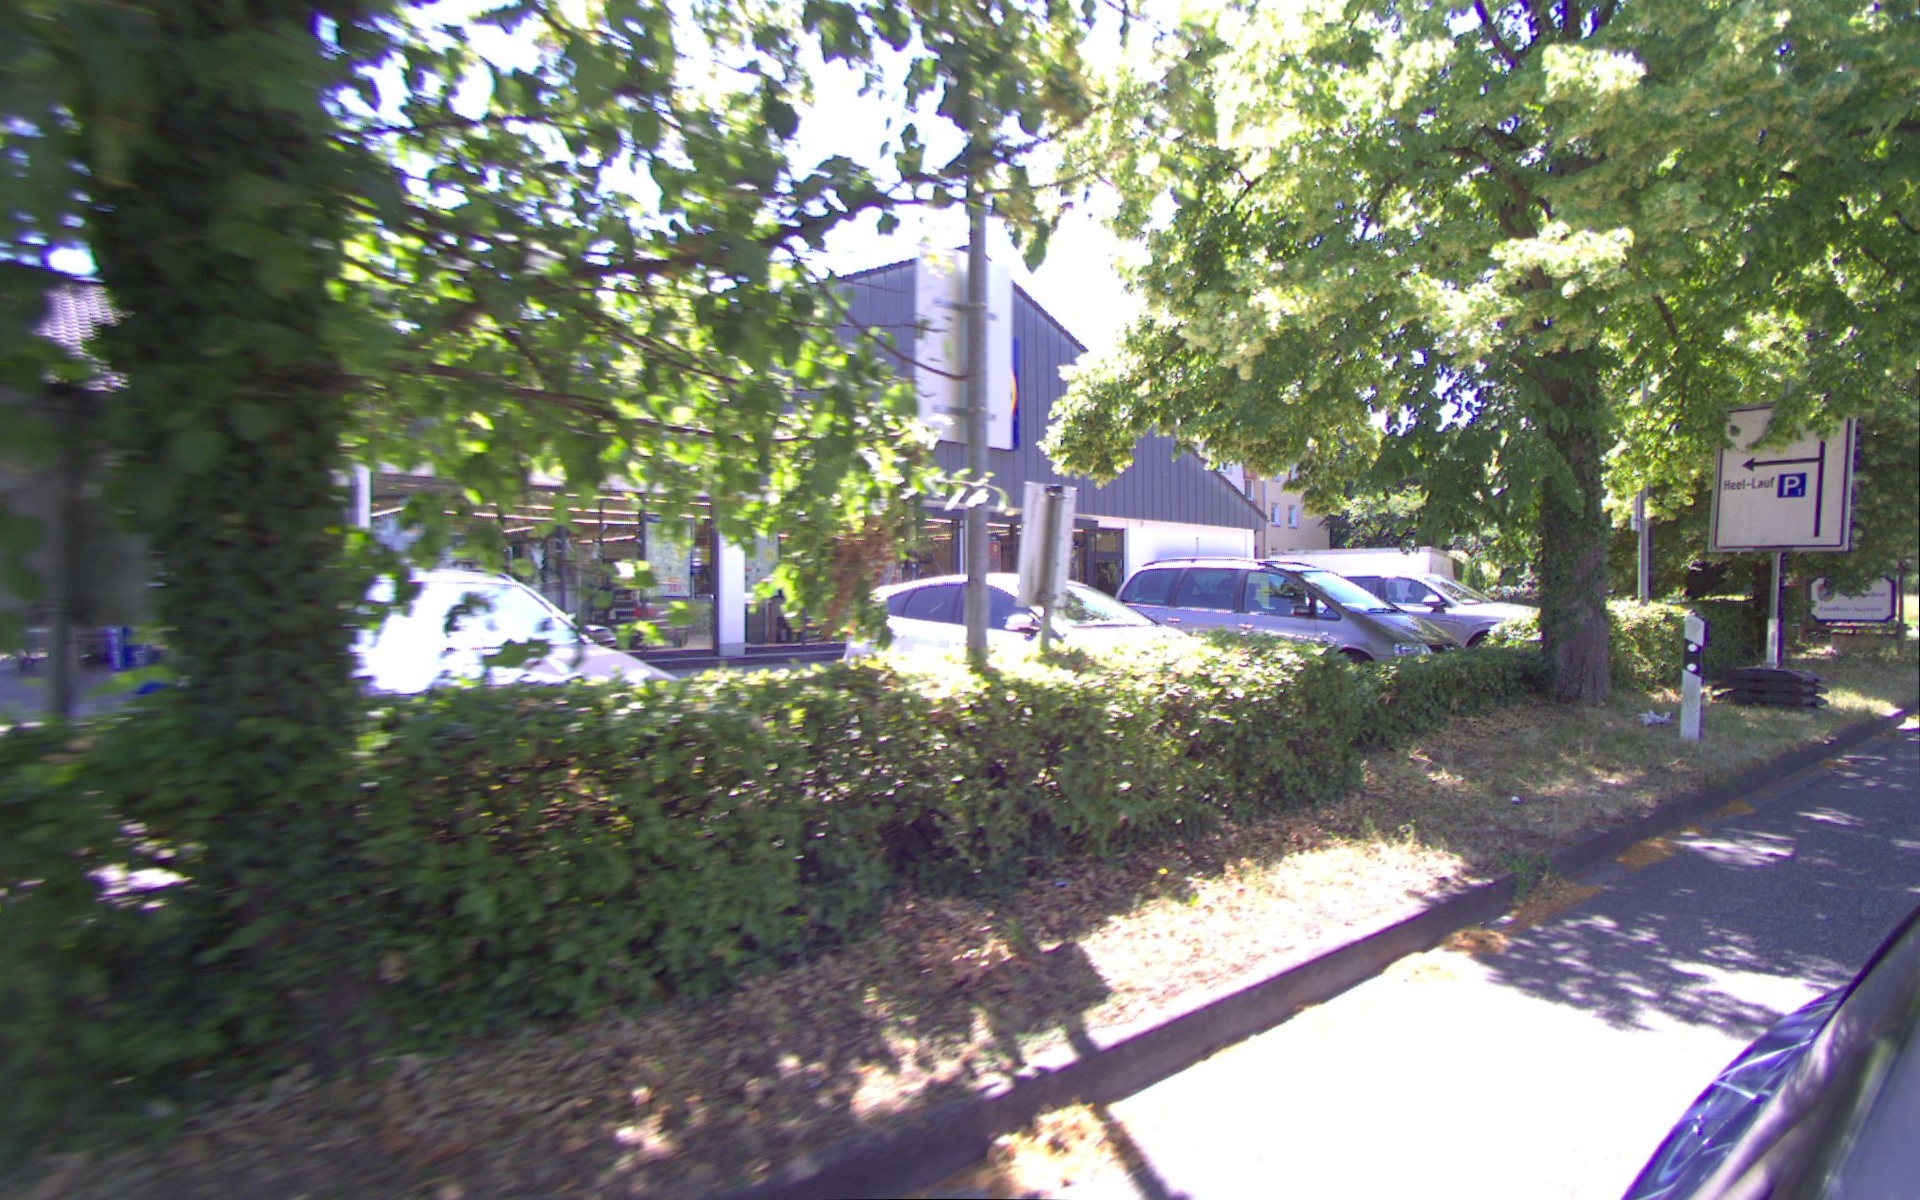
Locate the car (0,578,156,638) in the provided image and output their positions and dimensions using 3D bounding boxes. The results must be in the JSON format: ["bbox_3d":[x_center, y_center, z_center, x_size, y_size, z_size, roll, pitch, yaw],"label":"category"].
[{"bbox_3d":[-25.492,0.187,28.730,1.993,1.571,3.938,2,2,43],"label":"car"}]

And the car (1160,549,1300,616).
[{"bbox_3d":[8.800,-0.569,33.198,1.968,2.039,3.989,-2,1,-44],"label":"car"}]

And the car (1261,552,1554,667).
[{"bbox_3d":[7.293,0.097,16.745,1.967,1.660,3.991,-2,2,-43],"label":"car"}]

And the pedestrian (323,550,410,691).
[{"bbox_3d":[-7.788,0.243,13.289,0.697,1.775,0.773,-1,1,42],"label":"pedestrian"}]

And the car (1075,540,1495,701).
[{"bbox_3d":[3.993,0.211,13.143,1.967,1.697,4.852,-2,1,-43],"label":"car"}]

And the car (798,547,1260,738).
[{"bbox_3d":[0.484,0.308,9.776,4.231,1.428,1.922,0,1,45],"label":"car"}]

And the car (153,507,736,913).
[{"bbox_3d":[-3.264,0.381,5.906,4.312,1.499,1.780,0,1,45],"label":"car"}]
